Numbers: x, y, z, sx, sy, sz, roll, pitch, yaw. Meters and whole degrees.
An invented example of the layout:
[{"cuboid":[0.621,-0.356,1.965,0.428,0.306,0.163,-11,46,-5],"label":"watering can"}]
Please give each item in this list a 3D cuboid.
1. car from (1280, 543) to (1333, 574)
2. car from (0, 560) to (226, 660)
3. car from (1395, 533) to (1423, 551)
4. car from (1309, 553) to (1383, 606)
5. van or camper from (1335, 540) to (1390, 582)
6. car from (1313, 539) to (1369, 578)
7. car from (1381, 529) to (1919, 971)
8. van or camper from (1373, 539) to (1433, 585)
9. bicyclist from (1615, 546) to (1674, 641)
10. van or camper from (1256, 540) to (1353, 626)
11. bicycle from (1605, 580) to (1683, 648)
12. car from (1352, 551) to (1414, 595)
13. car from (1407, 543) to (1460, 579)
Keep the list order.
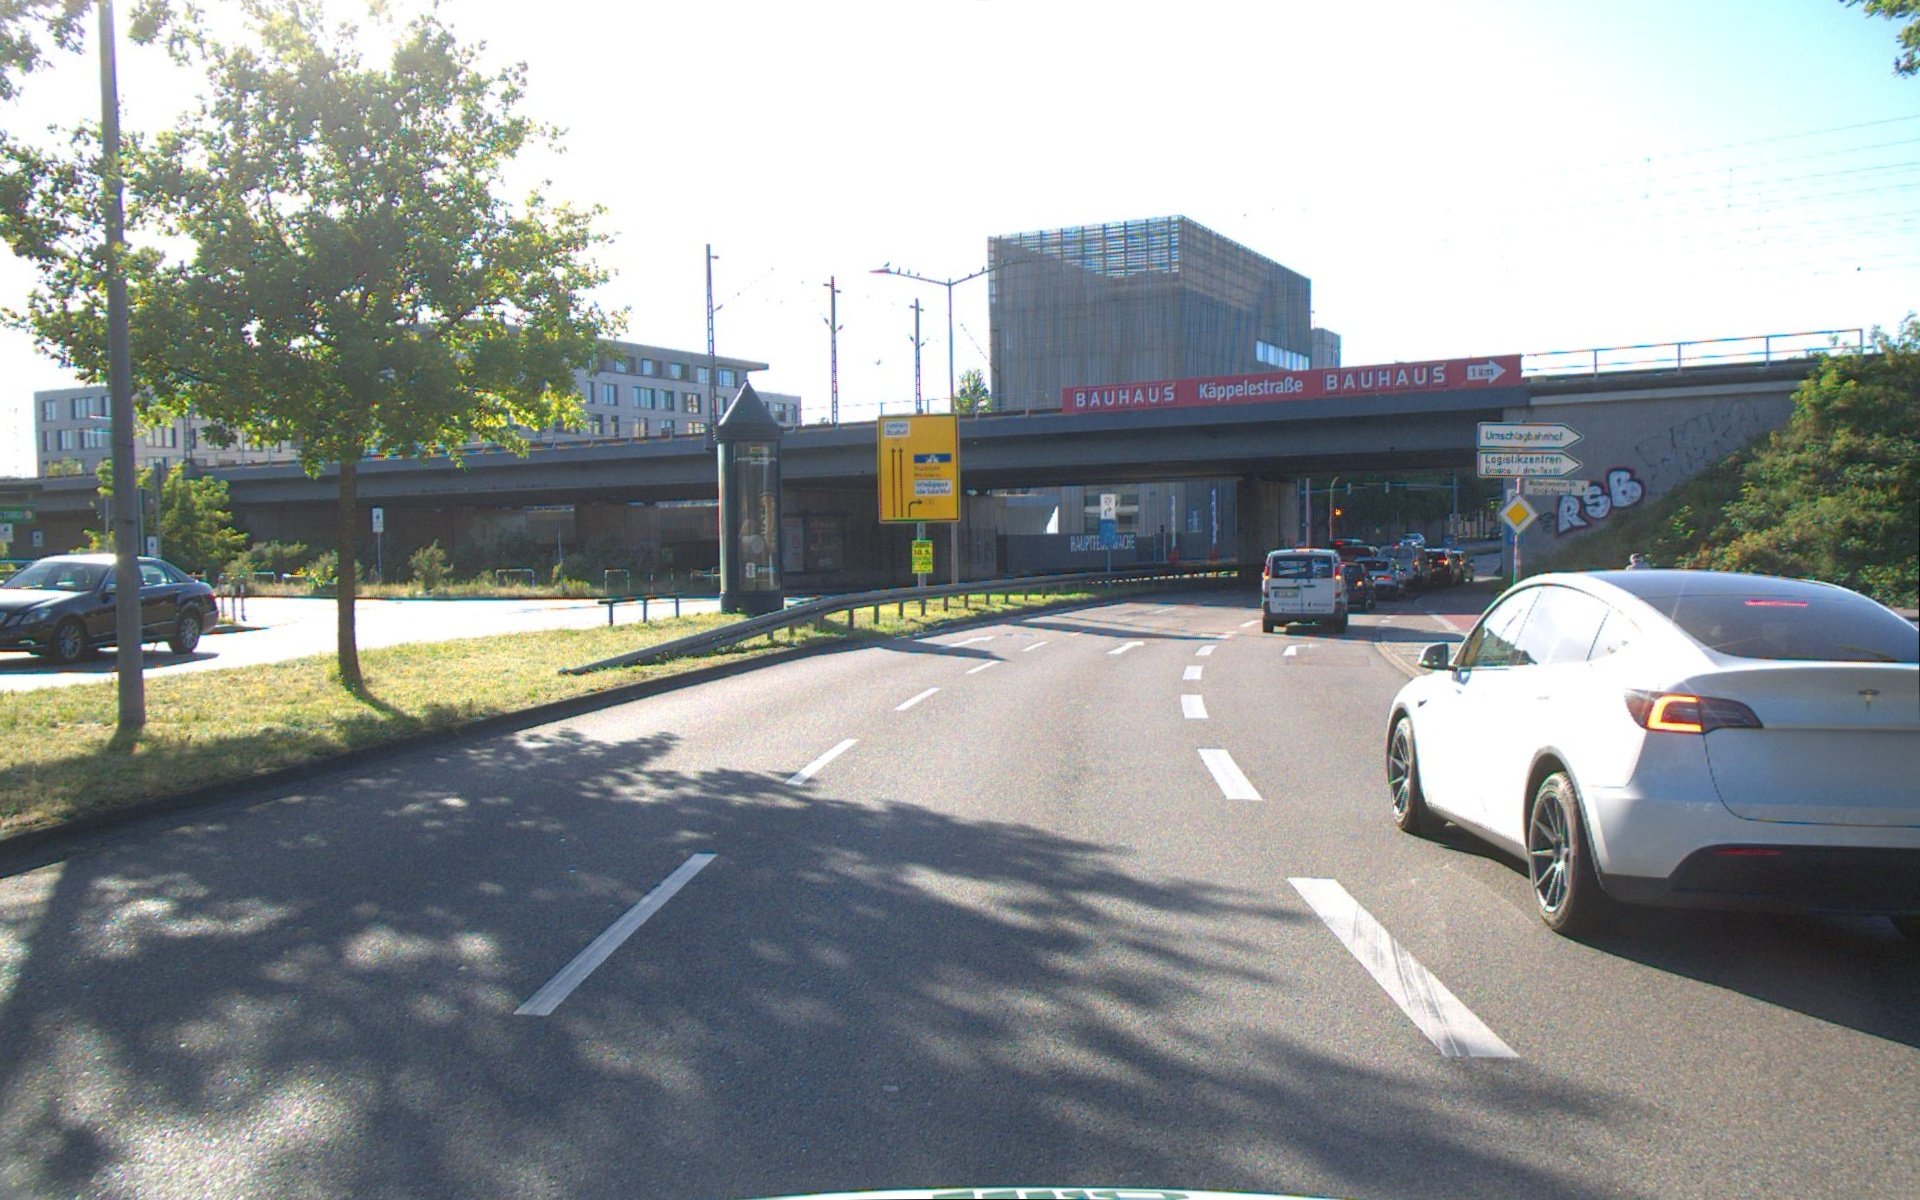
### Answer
[{"cuboid":[16.921,-2.028,80.721,1.674,1.477,3.740,0,2,26],"label":"car"},{"cuboid":[-12.993,0.090,24.489,1.761,1.333,4.619,0,1,7],"label":"car"},{"cuboid":[41.910,-5.424,154.348,1.748,1.674,4.197,1,2,27],"label":"car"},{"cuboid":[11.721,-0.646,50.072,1.572,1.459,3.678,1,3,23],"label":"car"},{"cuboid":[18.169,-1.779,74.567,1.719,1.845,3.957,0,2,24],"label":"van or camper"},{"cuboid":[20.057,-2.218,86.927,1.830,1.980,4.592,0,2,26],"label":"car"},{"cuboid":[3.658,0.604,8.607,1.874,1.669,4.411,2,0,1],"label":"car"},{"cuboid":[18.211,-1.574,67.894,1.788,1.822,4.545,1,2,22],"label":"van or camper"},{"cuboid":[12.304,-0.129,29.767,0.730,1.647,0.913,-3,1,10],"label":"bicyclist"},{"cuboid":[8.233,-0.462,39.230,1.917,1.916,4.884,0,2,16],"label":"van or camper"},{"cuboid":[12.345,0.228,29.914,0.727,1.131,2.454,-3,1,9],"label":"bicycle"},{"cuboid":[15.047,-0.982,58.724,1.726,1.501,4.290,0,2,20],"label":"car"},{"cuboid":[21.131,-1.774,73.748,1.674,1.549,3.740,0,2,26],"label":"car"}]
